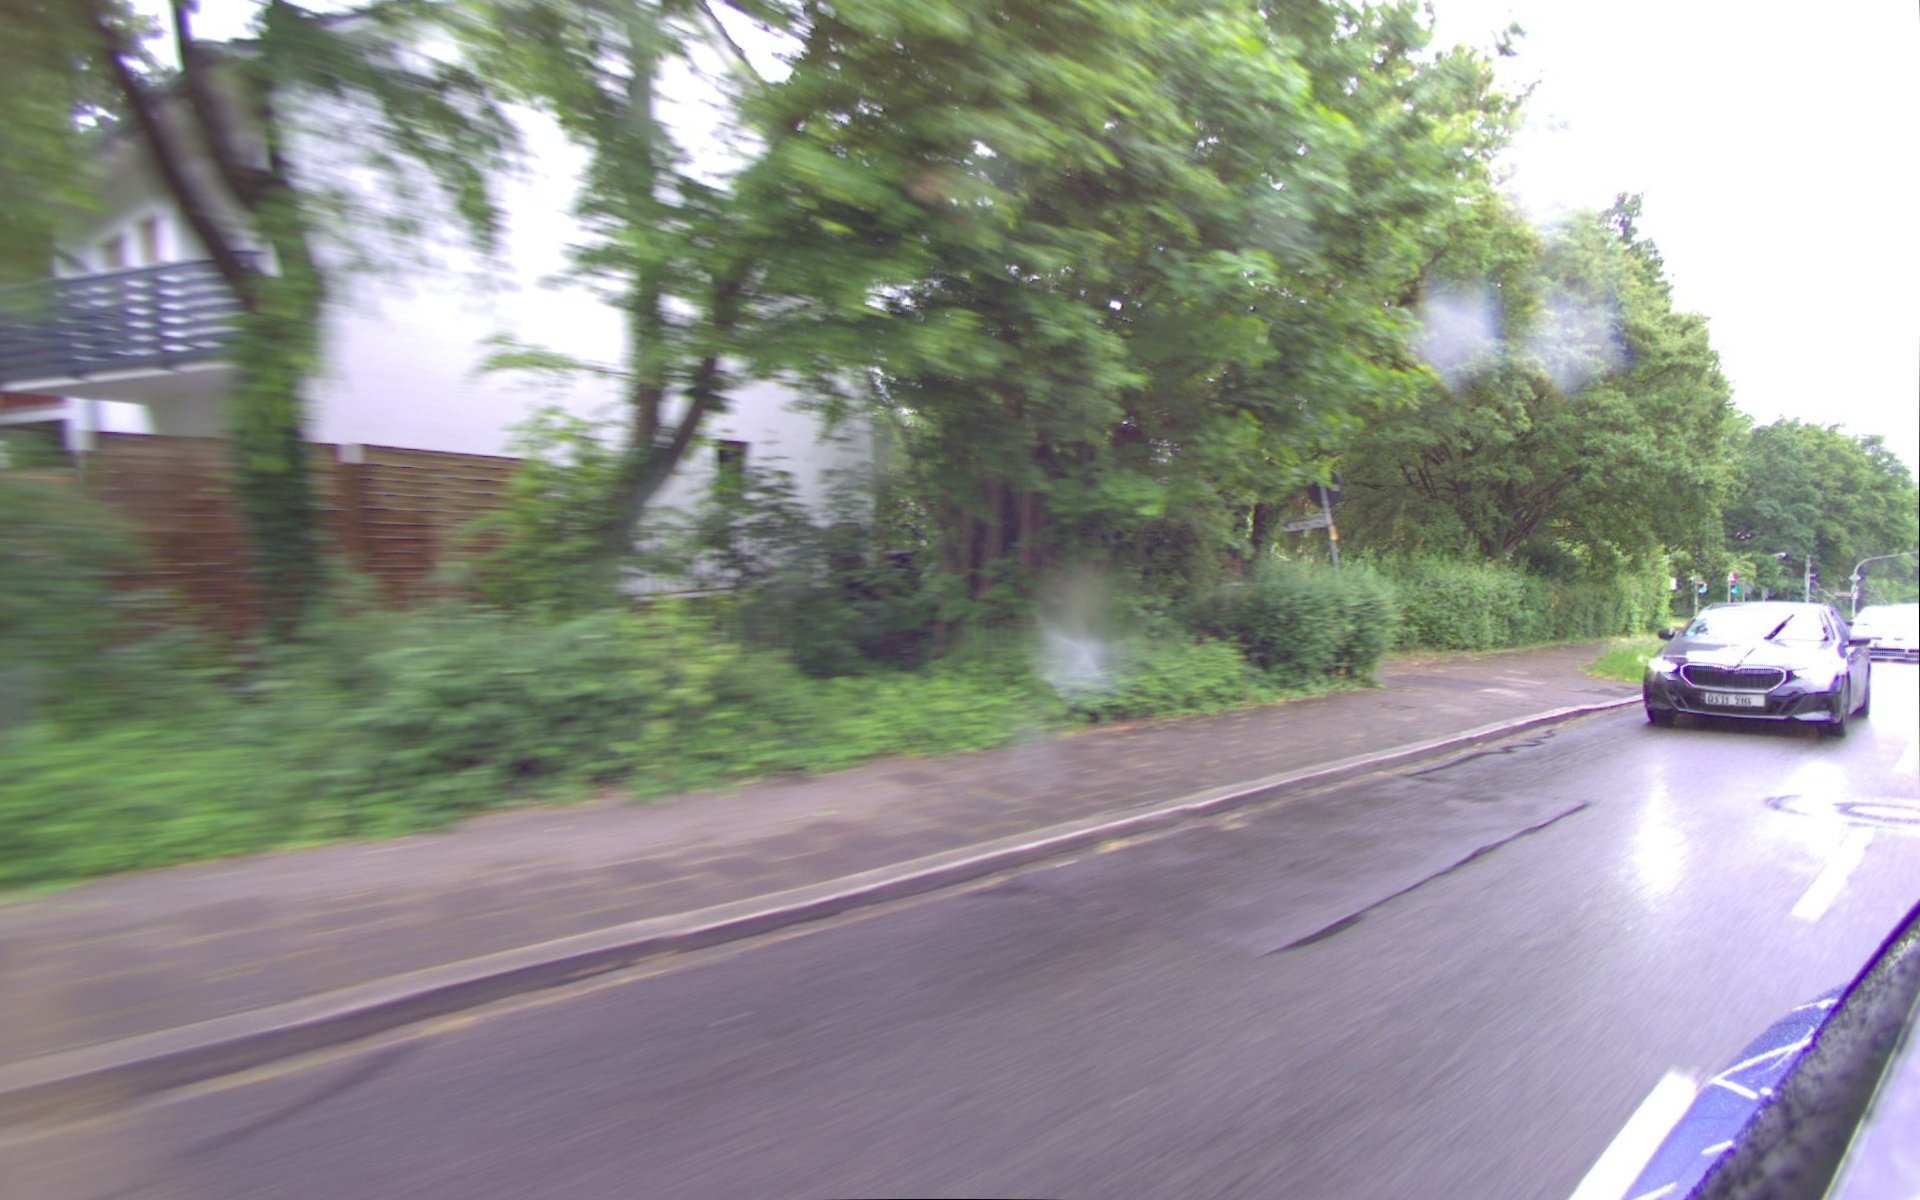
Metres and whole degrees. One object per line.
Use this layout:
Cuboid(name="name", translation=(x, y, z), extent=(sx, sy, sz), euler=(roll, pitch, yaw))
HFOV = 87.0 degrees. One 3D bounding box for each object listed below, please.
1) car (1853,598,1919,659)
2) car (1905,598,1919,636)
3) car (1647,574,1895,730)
Cuboid(name="car", translation=(26.930, 0.797, 28.874), extent=(4.051, 1.575, 1.812), euler=(1, 2, -44))
Cuboid(name="car", translation=(48.597, 0.880, 50.489), extent=(4.050, 1.830, 1.812), euler=(1, 2, -43))
Cuboid(name="car", translation=(10.208, 0.521, 12.624), extent=(4.051, 1.575, 1.865), euler=(0, 3, -44))
